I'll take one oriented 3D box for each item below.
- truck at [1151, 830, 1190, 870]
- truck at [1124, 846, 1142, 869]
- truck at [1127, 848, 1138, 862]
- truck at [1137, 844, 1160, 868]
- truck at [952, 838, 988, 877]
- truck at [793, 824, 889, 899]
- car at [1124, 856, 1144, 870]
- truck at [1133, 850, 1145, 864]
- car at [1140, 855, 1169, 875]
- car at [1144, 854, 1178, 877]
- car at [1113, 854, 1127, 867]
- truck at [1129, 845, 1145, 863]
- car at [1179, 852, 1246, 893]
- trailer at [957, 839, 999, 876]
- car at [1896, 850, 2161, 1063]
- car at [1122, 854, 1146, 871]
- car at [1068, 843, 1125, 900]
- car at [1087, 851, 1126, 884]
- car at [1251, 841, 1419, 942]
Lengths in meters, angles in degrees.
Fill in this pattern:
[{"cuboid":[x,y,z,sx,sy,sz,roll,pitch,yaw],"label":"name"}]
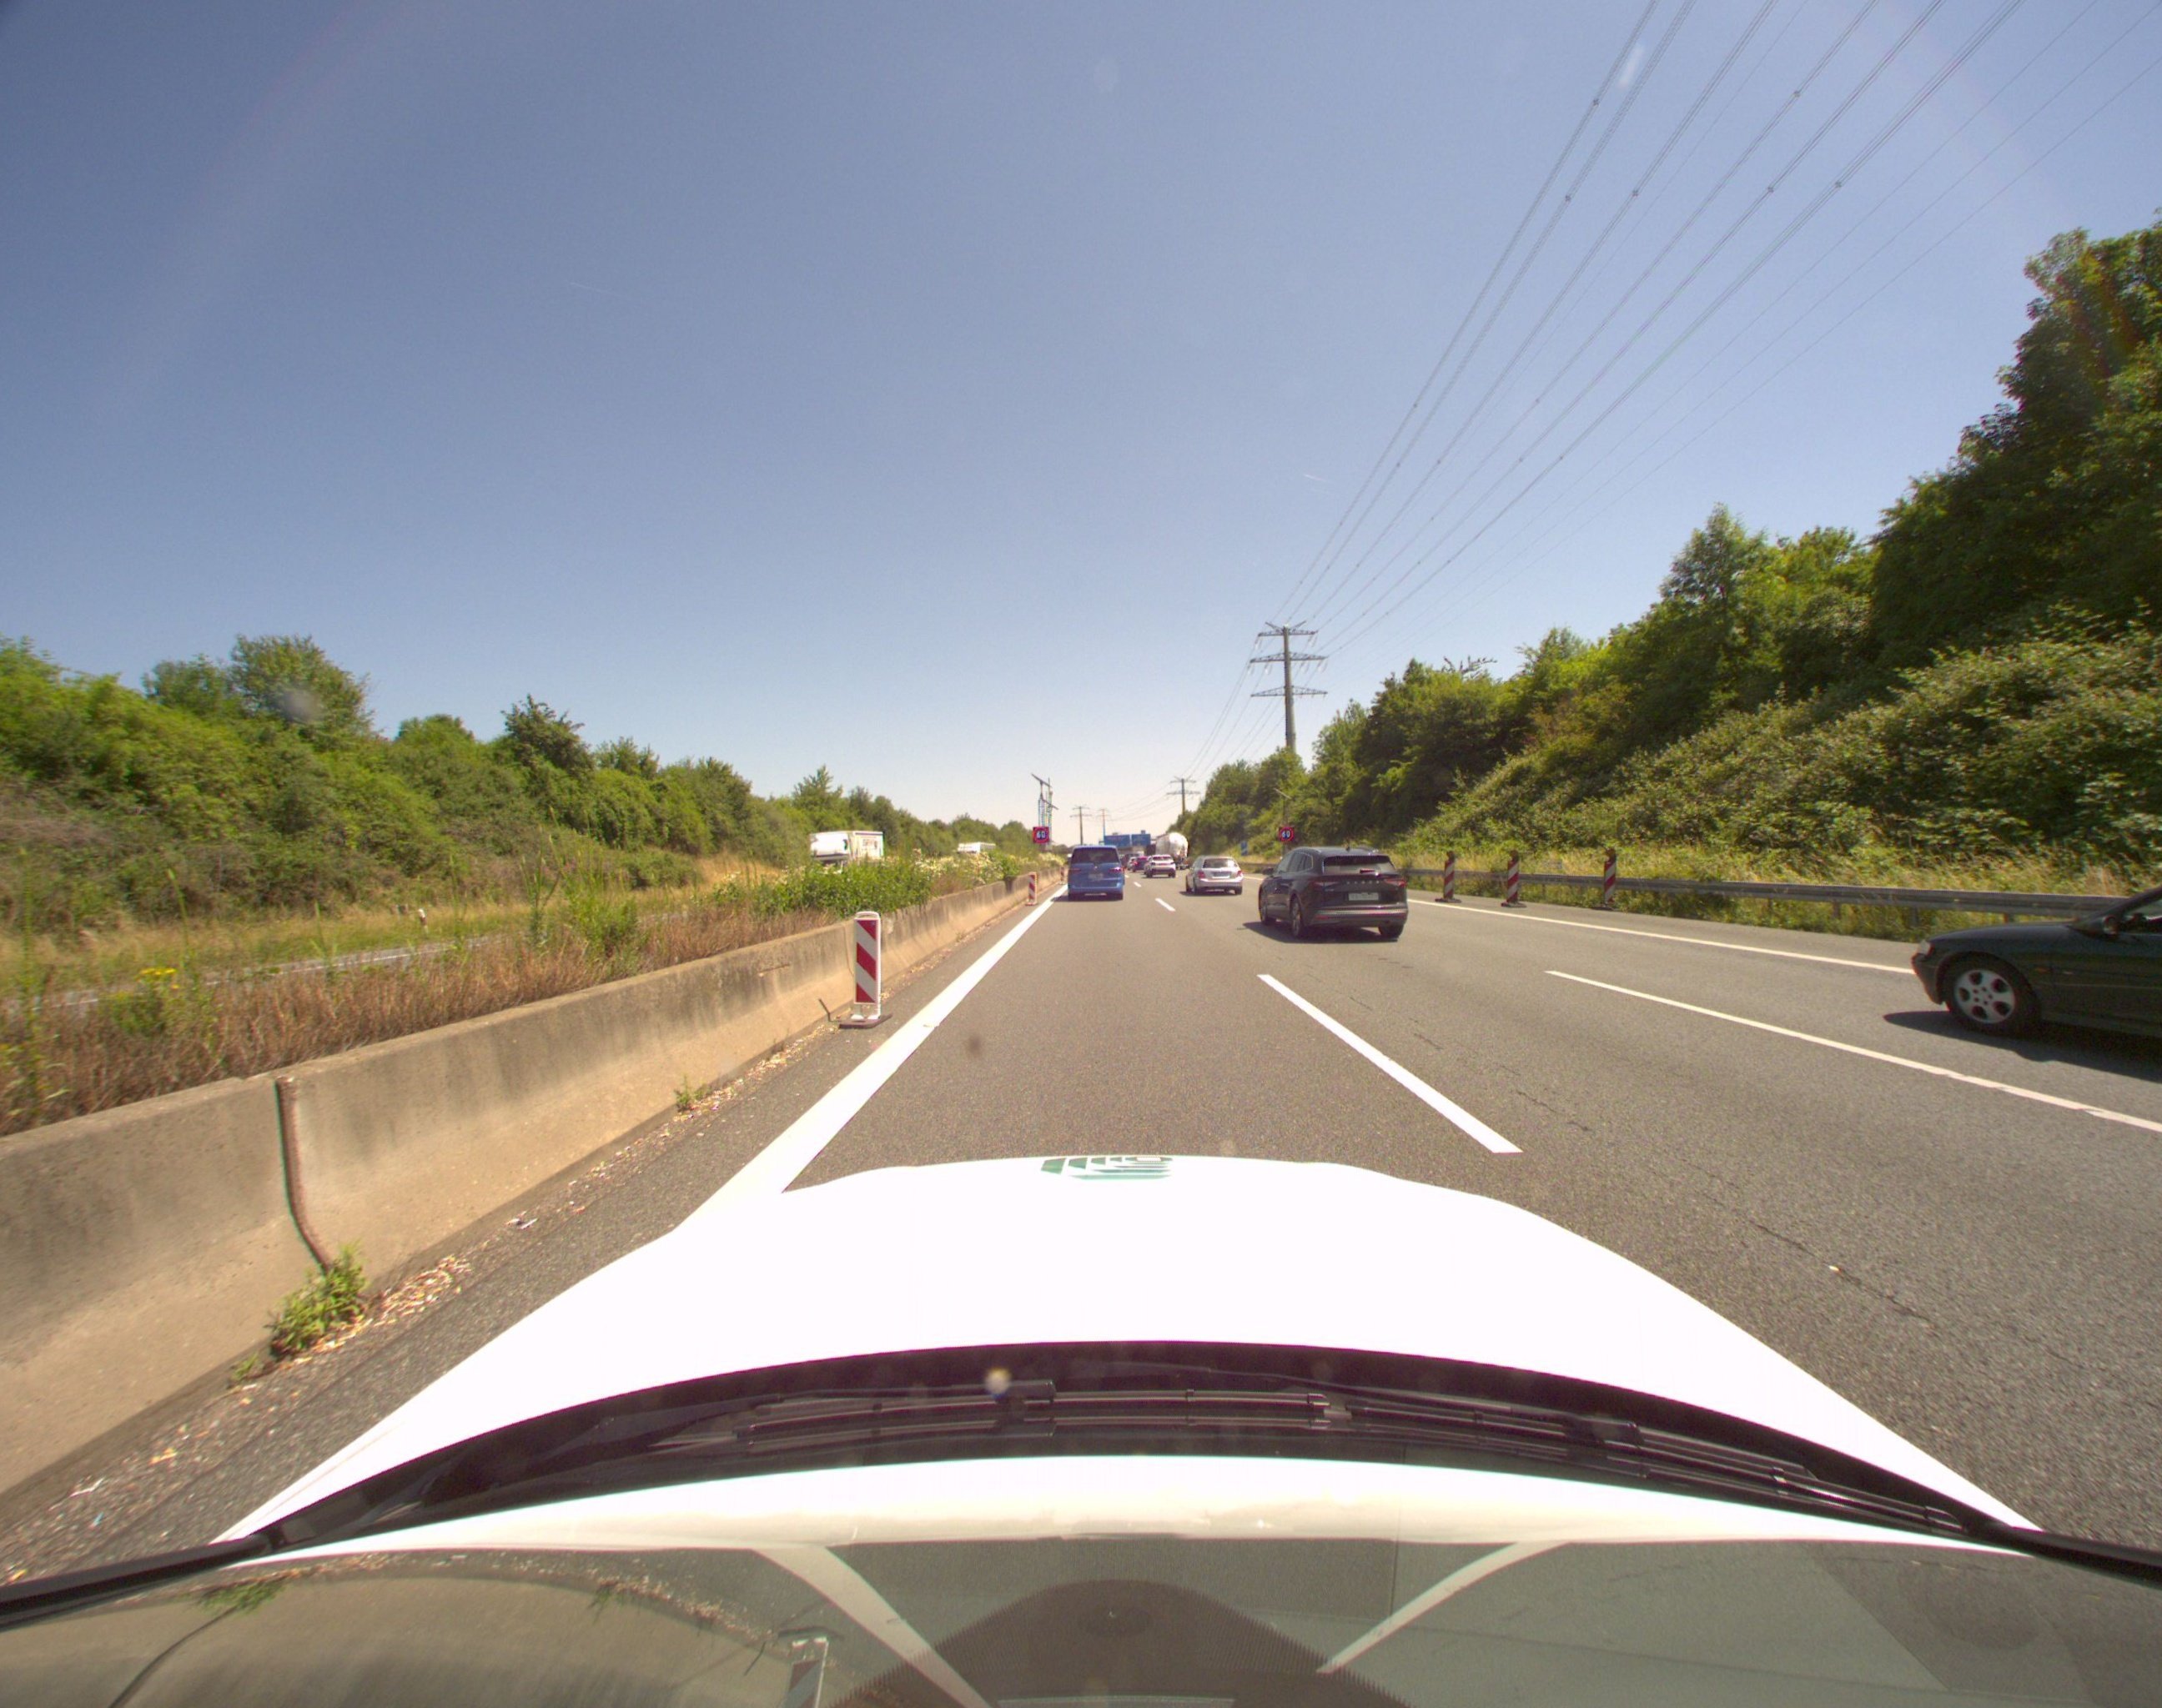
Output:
[{"cuboid":[9.823,-0.388,91.198,2.636,4.072,16.439,0,0,0],"label":"truck"},{"cuboid":[6.448,0.411,101.316,1.987,2.723,5.679,0,0,0],"label":"truck"},{"cuboid":[16.241,0.256,257.639,2.928,4.291,12.550,0,0,0],"label":"truck"},{"cuboid":[10.426,0.270,126.962,2.636,3.539,12.550,0,0,0],"label":"truck"},{"cuboid":[-13.155,0.415,96.815,3.006,4.166,5.806,-5,0,1],"label":"truck"},{"cuboid":[-14.249,0.413,49.291,2.753,3.888,9.030,-5,0,1],"label":"truck"},{"cuboid":[5.721,0.978,88.408,1.903,1.516,4.382,0,0,-1],"label":"car"},{"cuboid":[11.580,0.524,163.361,1.987,2.723,5.679,0,0,0],"label":"truck"},{"cuboid":[5.966,0.876,66.496,1.903,1.569,4.382,0,0,-1],"label":"car"},{"cuboid":[5.440,0.739,55.557,1.903,1.508,3.920,0,0,-1],"label":"car"},{"cuboid":[5.970,1.044,125.813,1.987,2.014,4.000,0,0,0],"label":"car"},{"cuboid":[13.454,0.073,195.766,2.928,4.291,12.550,0,0,0],"label":"truck"},{"cuboid":[4.941,0.670,31.158,1.815,1.437,4.382,0,0,-1],"label":"car"},{"cuboid":[-12.989,0.447,104.505,3.006,4.166,14.023,-5,0,1],"label":"trailer"},{"cuboid":[7.817,0.654,4.831,1.728,1.378,4.303,0,0,1],"label":"car"},{"cuboid":[4.931,0.807,75.809,1.903,1.516,4.382,0,0,-1],"label":"car"},{"cuboid":[0.487,0.576,29.016,1.865,1.879,4.381,0,0,-1],"label":"car"},{"cuboid":[1.316,0.690,43.539,1.902,1.631,4.383,-1,0,0],"label":"car"},{"cuboid":[4.608,0.611,15.504,1.822,1.614,4.431,-1,0,0],"label":"car"}]
